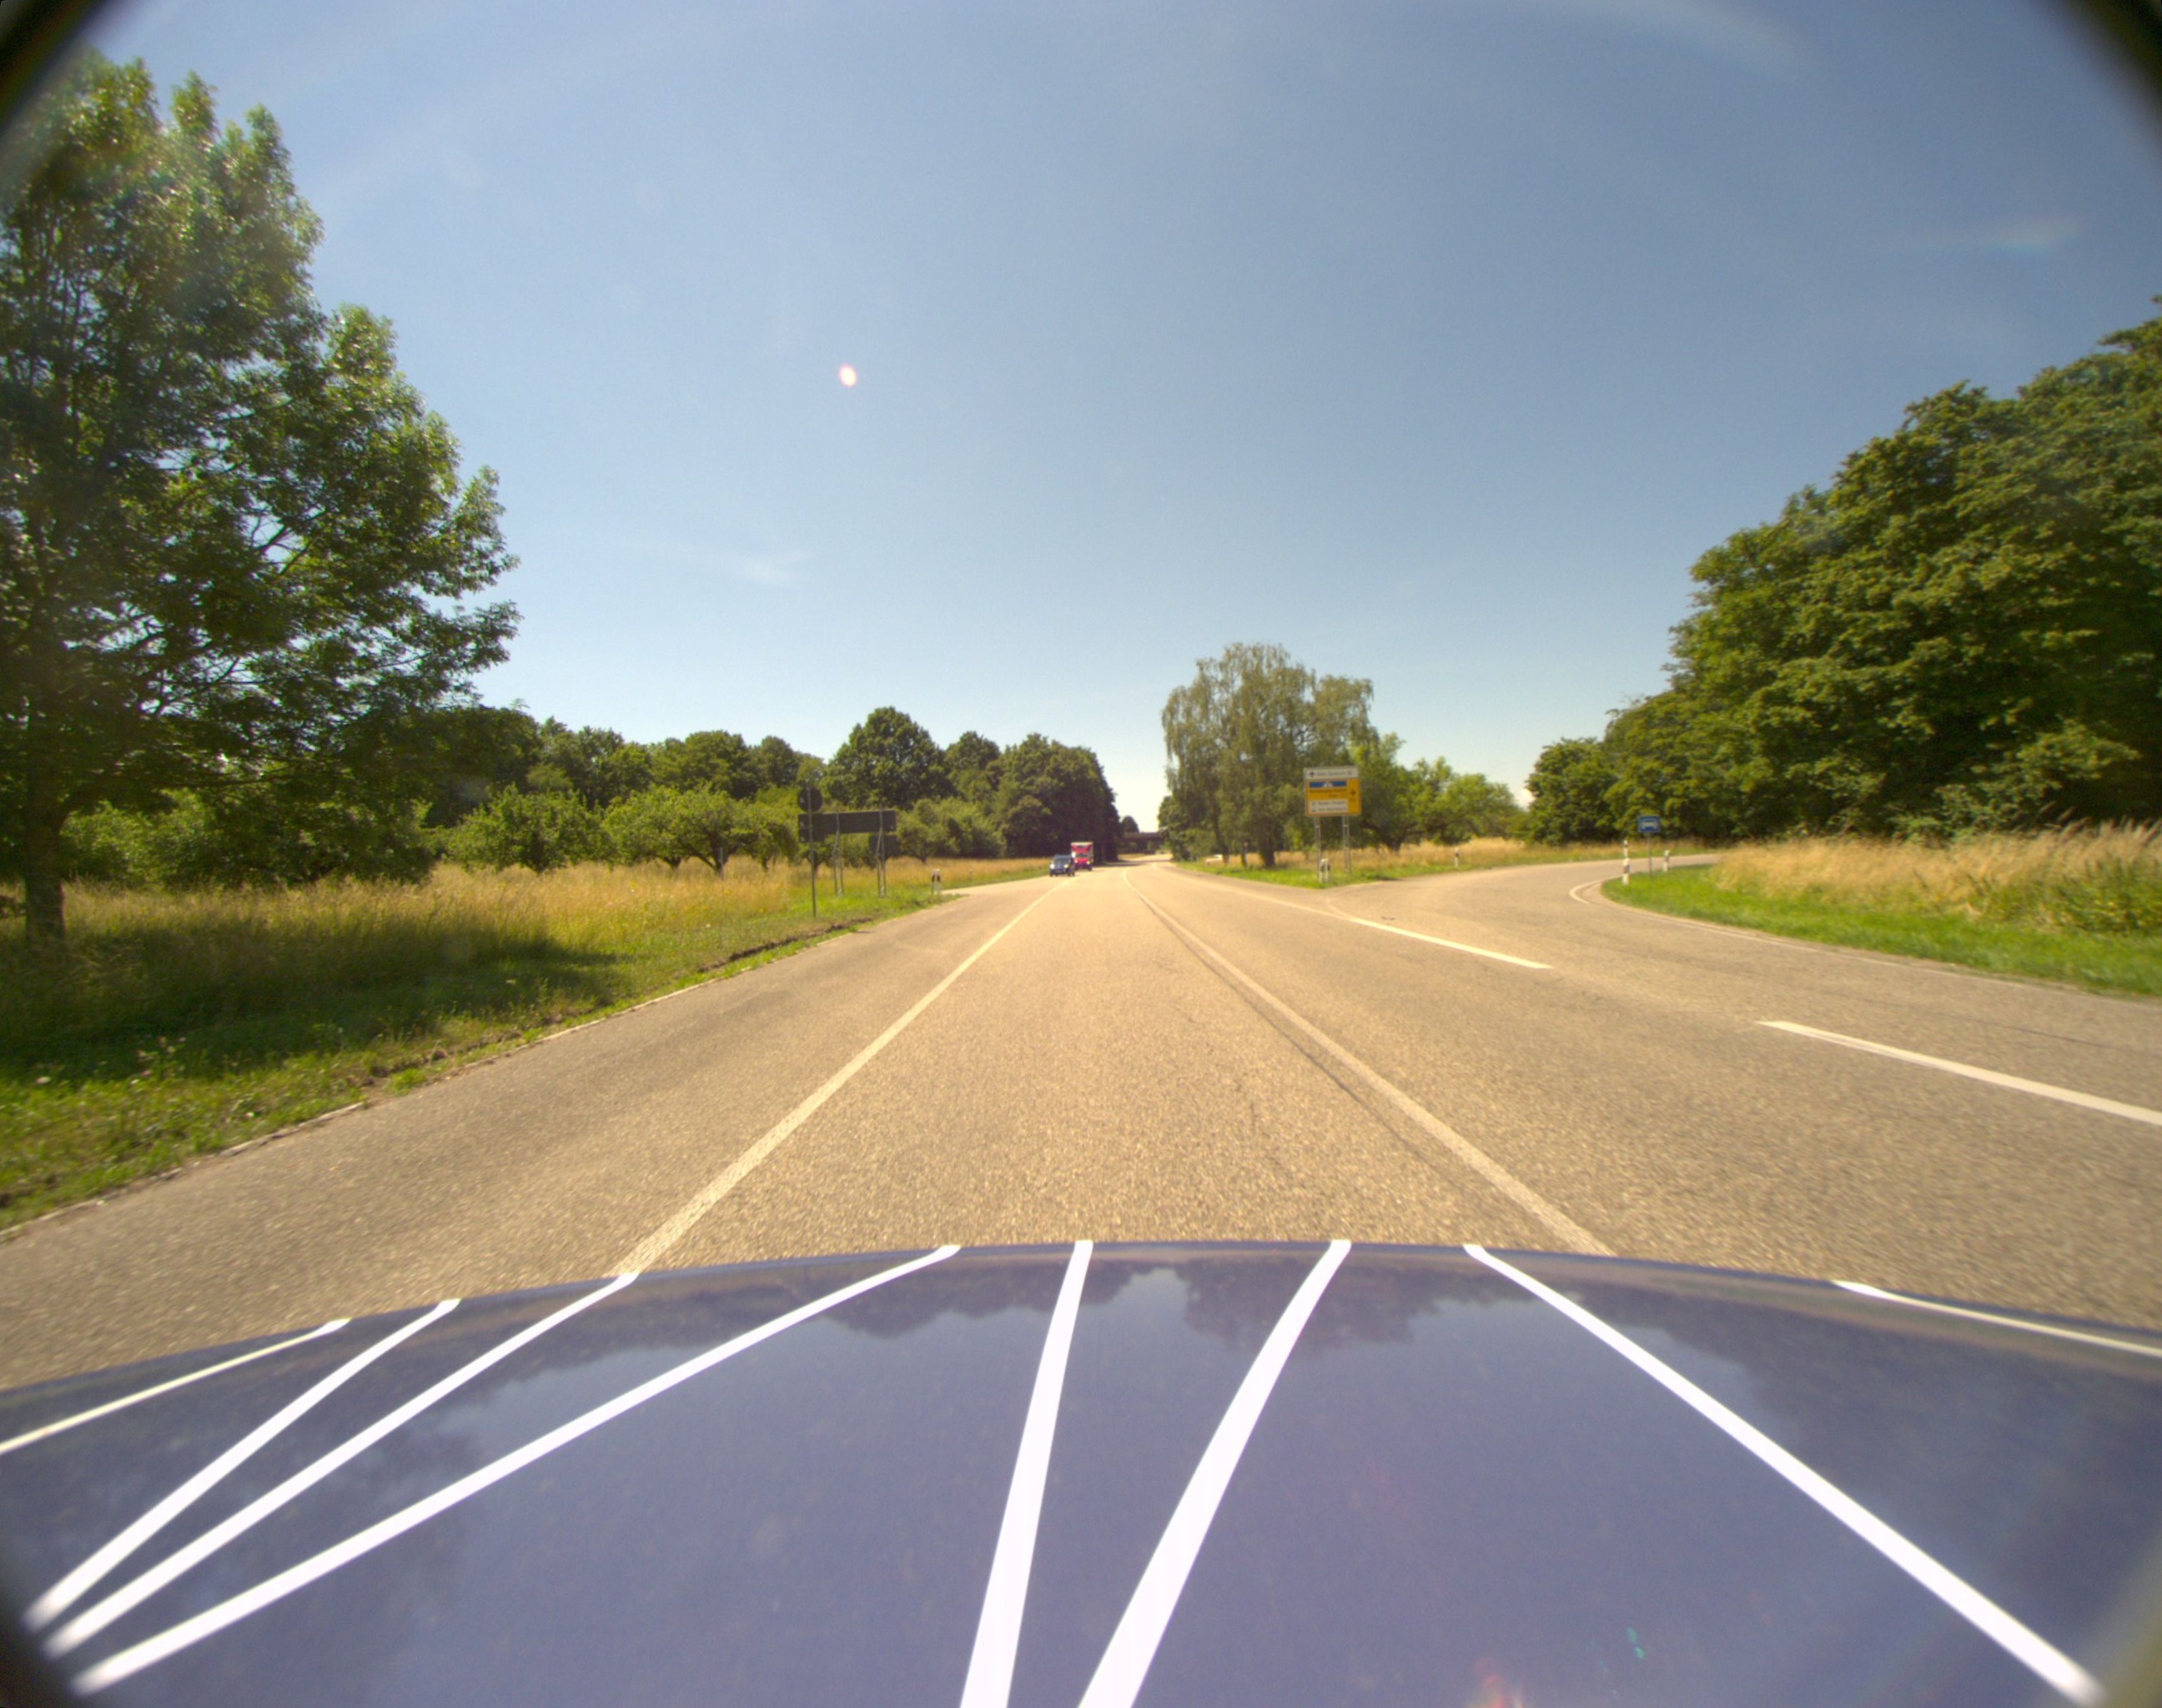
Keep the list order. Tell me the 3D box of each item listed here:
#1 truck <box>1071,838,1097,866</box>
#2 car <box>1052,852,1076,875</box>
[{"bbox_3d":[0.430,-0.267,85.398,2.457,2.927,6.975,-1,1,3],"label":"truck"},{"bbox_3d":[-1.369,0.749,63.133,1.746,1.833,4.000,-1,1,2],"label":"car"}]
